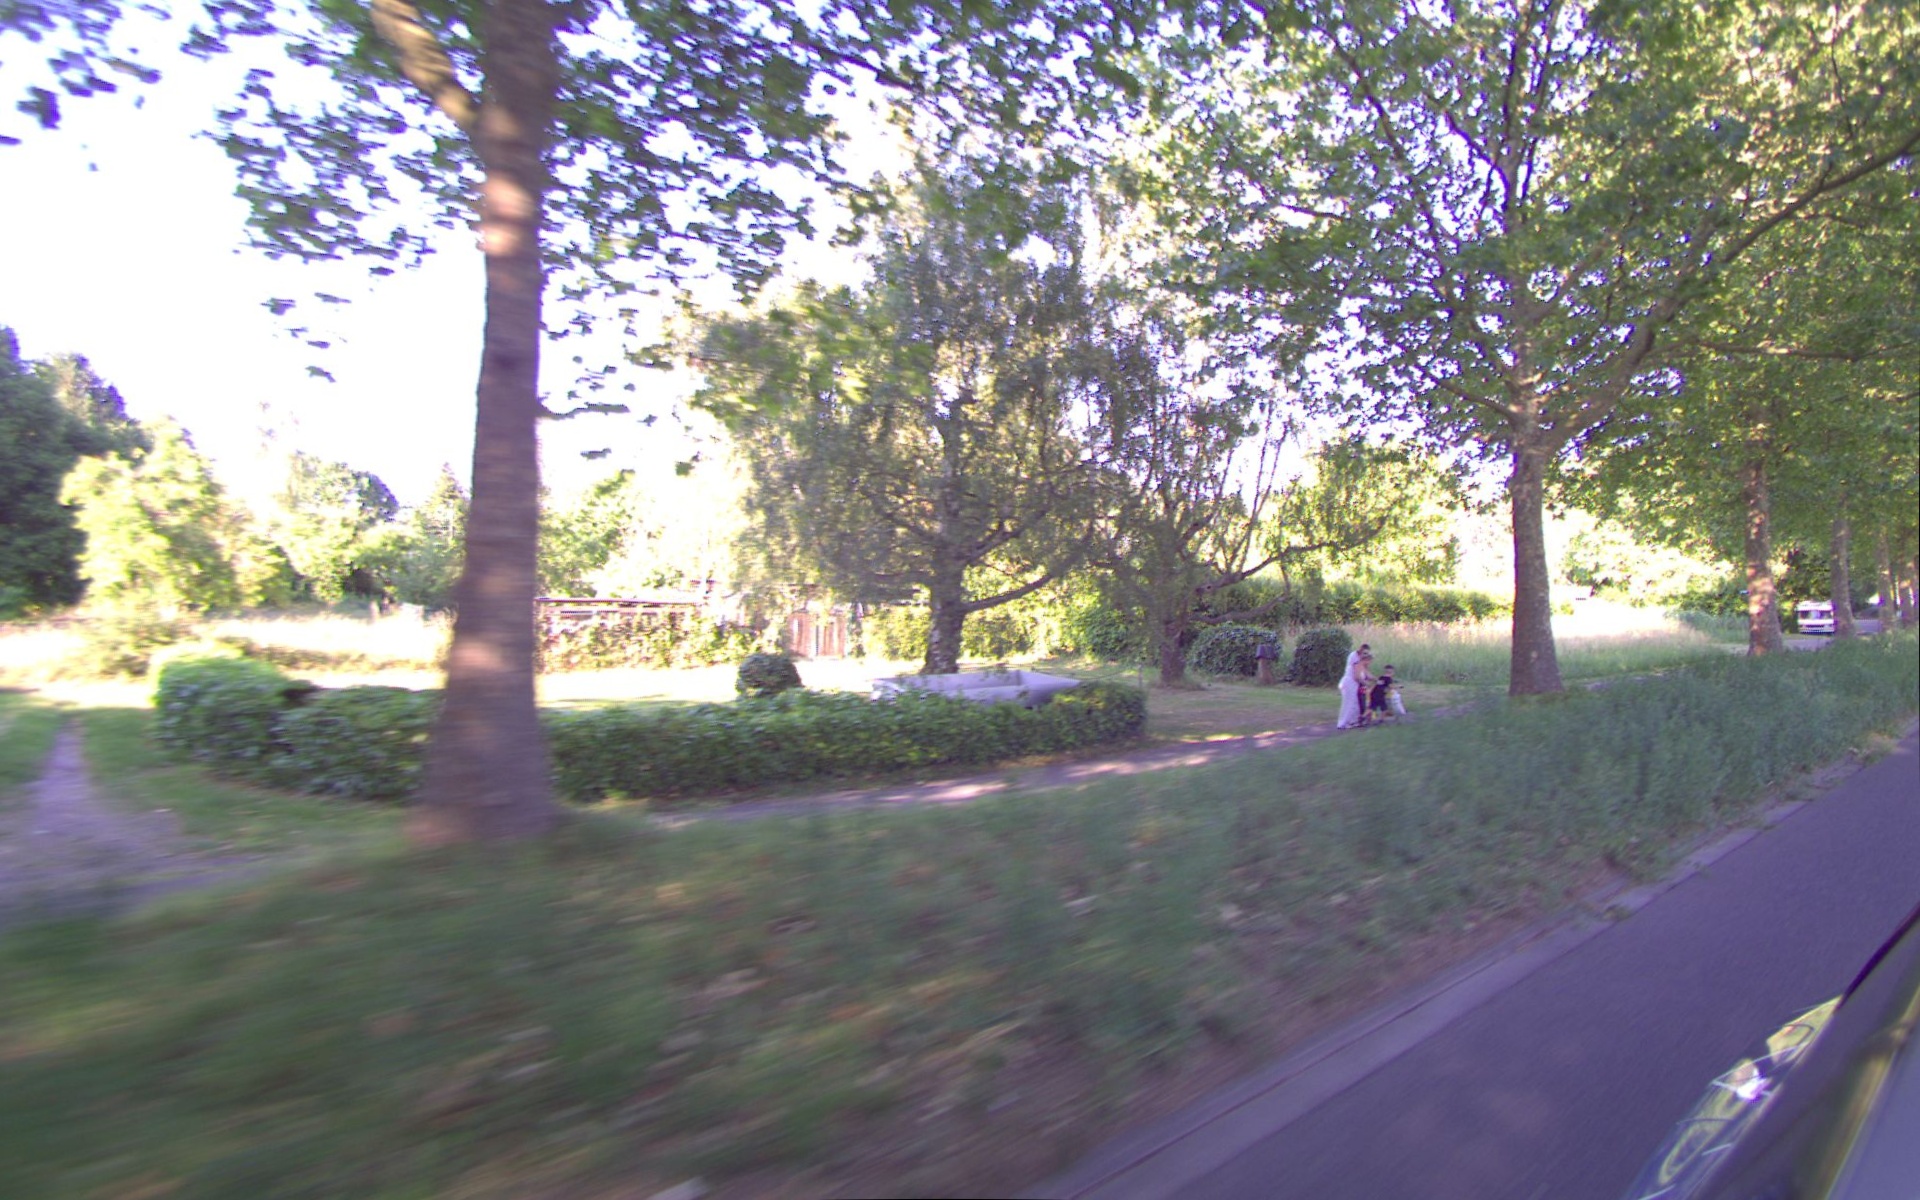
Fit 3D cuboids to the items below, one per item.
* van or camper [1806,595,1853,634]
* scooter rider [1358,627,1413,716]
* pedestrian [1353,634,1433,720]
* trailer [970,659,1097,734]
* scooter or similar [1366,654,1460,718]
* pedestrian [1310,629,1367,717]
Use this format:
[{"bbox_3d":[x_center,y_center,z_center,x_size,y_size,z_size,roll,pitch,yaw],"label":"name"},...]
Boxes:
[{"bbox_3d":[67.526,1.091,78.578,5.593,2.835,2.382,-1,1,-45],"label":"van or camper"},{"bbox_3d":[8.005,1.319,19.071,0.832,1.596,0.781,0,0,13],"label":"scooter rider"},{"bbox_3d":[8.587,1.508,20.097,1.182,1.596,0.846,0,0,-11],"label":"pedestrian"},{"bbox_3d":[1.287,1.681,18.084,1.178,1.065,2.124,-1,1,-36],"label":"trailer"},{"bbox_3d":[8.412,1.592,18.824,1.571,1.149,0.340,0,0,6],"label":"scooter or similar"},{"bbox_3d":[7.160,1.358,19.170,0.830,1.596,0.783,0,0,7],"label":"pedestrian"}]
